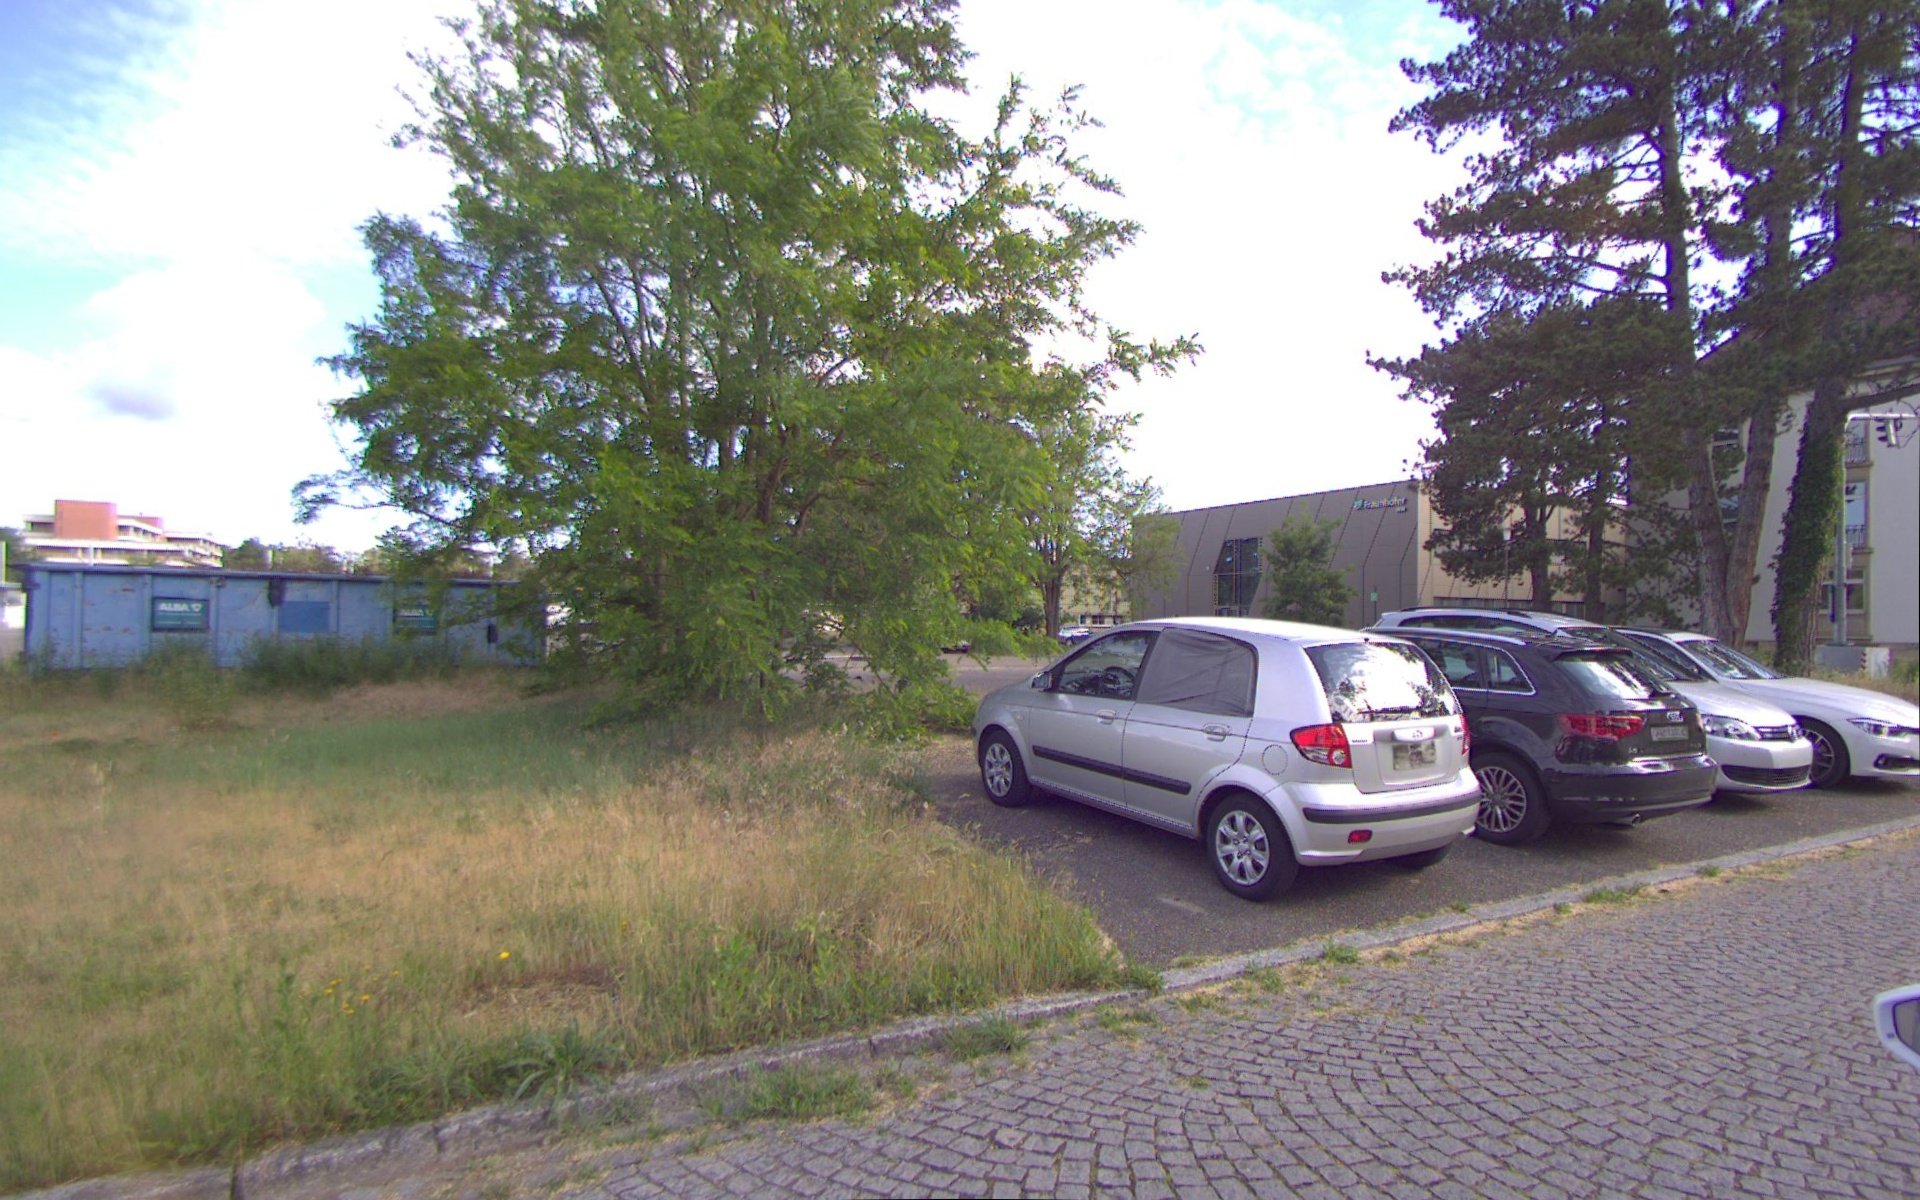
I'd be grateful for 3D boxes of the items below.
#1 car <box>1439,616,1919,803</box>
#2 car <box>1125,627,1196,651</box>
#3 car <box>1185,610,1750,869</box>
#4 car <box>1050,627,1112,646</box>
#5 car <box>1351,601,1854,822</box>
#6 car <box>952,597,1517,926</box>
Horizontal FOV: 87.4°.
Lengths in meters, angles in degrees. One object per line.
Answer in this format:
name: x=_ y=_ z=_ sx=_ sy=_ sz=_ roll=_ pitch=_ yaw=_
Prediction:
car: x=8.000 y=1.022 z=11.273 sx=1.810 sy=1.461 sz=4.453 roll=1 pitch=1 yaw=-32
car: x=12.451 y=2.403 z=62.322 sx=4.077 sy=1.433 sz=1.752 roll=1 pitch=-1 yaw=-26
car: x=3.790 y=0.888 z=8.211 sx=1.675 sy=1.427 sz=3.818 roll=1 pitch=1 yaw=-29
car: x=8.497 y=2.585 z=70.632 sx=4.142 sy=1.289 sz=1.600 roll=1 pitch=-1 yaw=-26
car: x=6.080 y=0.898 z=9.971 sx=1.716 sy=1.629 sz=3.811 roll=1 pitch=1 yaw=-31
car: x=1.560 y=0.804 z=6.856 sx=1.628 sy=1.495 sz=3.558 roll=2 pitch=1 yaw=-31
